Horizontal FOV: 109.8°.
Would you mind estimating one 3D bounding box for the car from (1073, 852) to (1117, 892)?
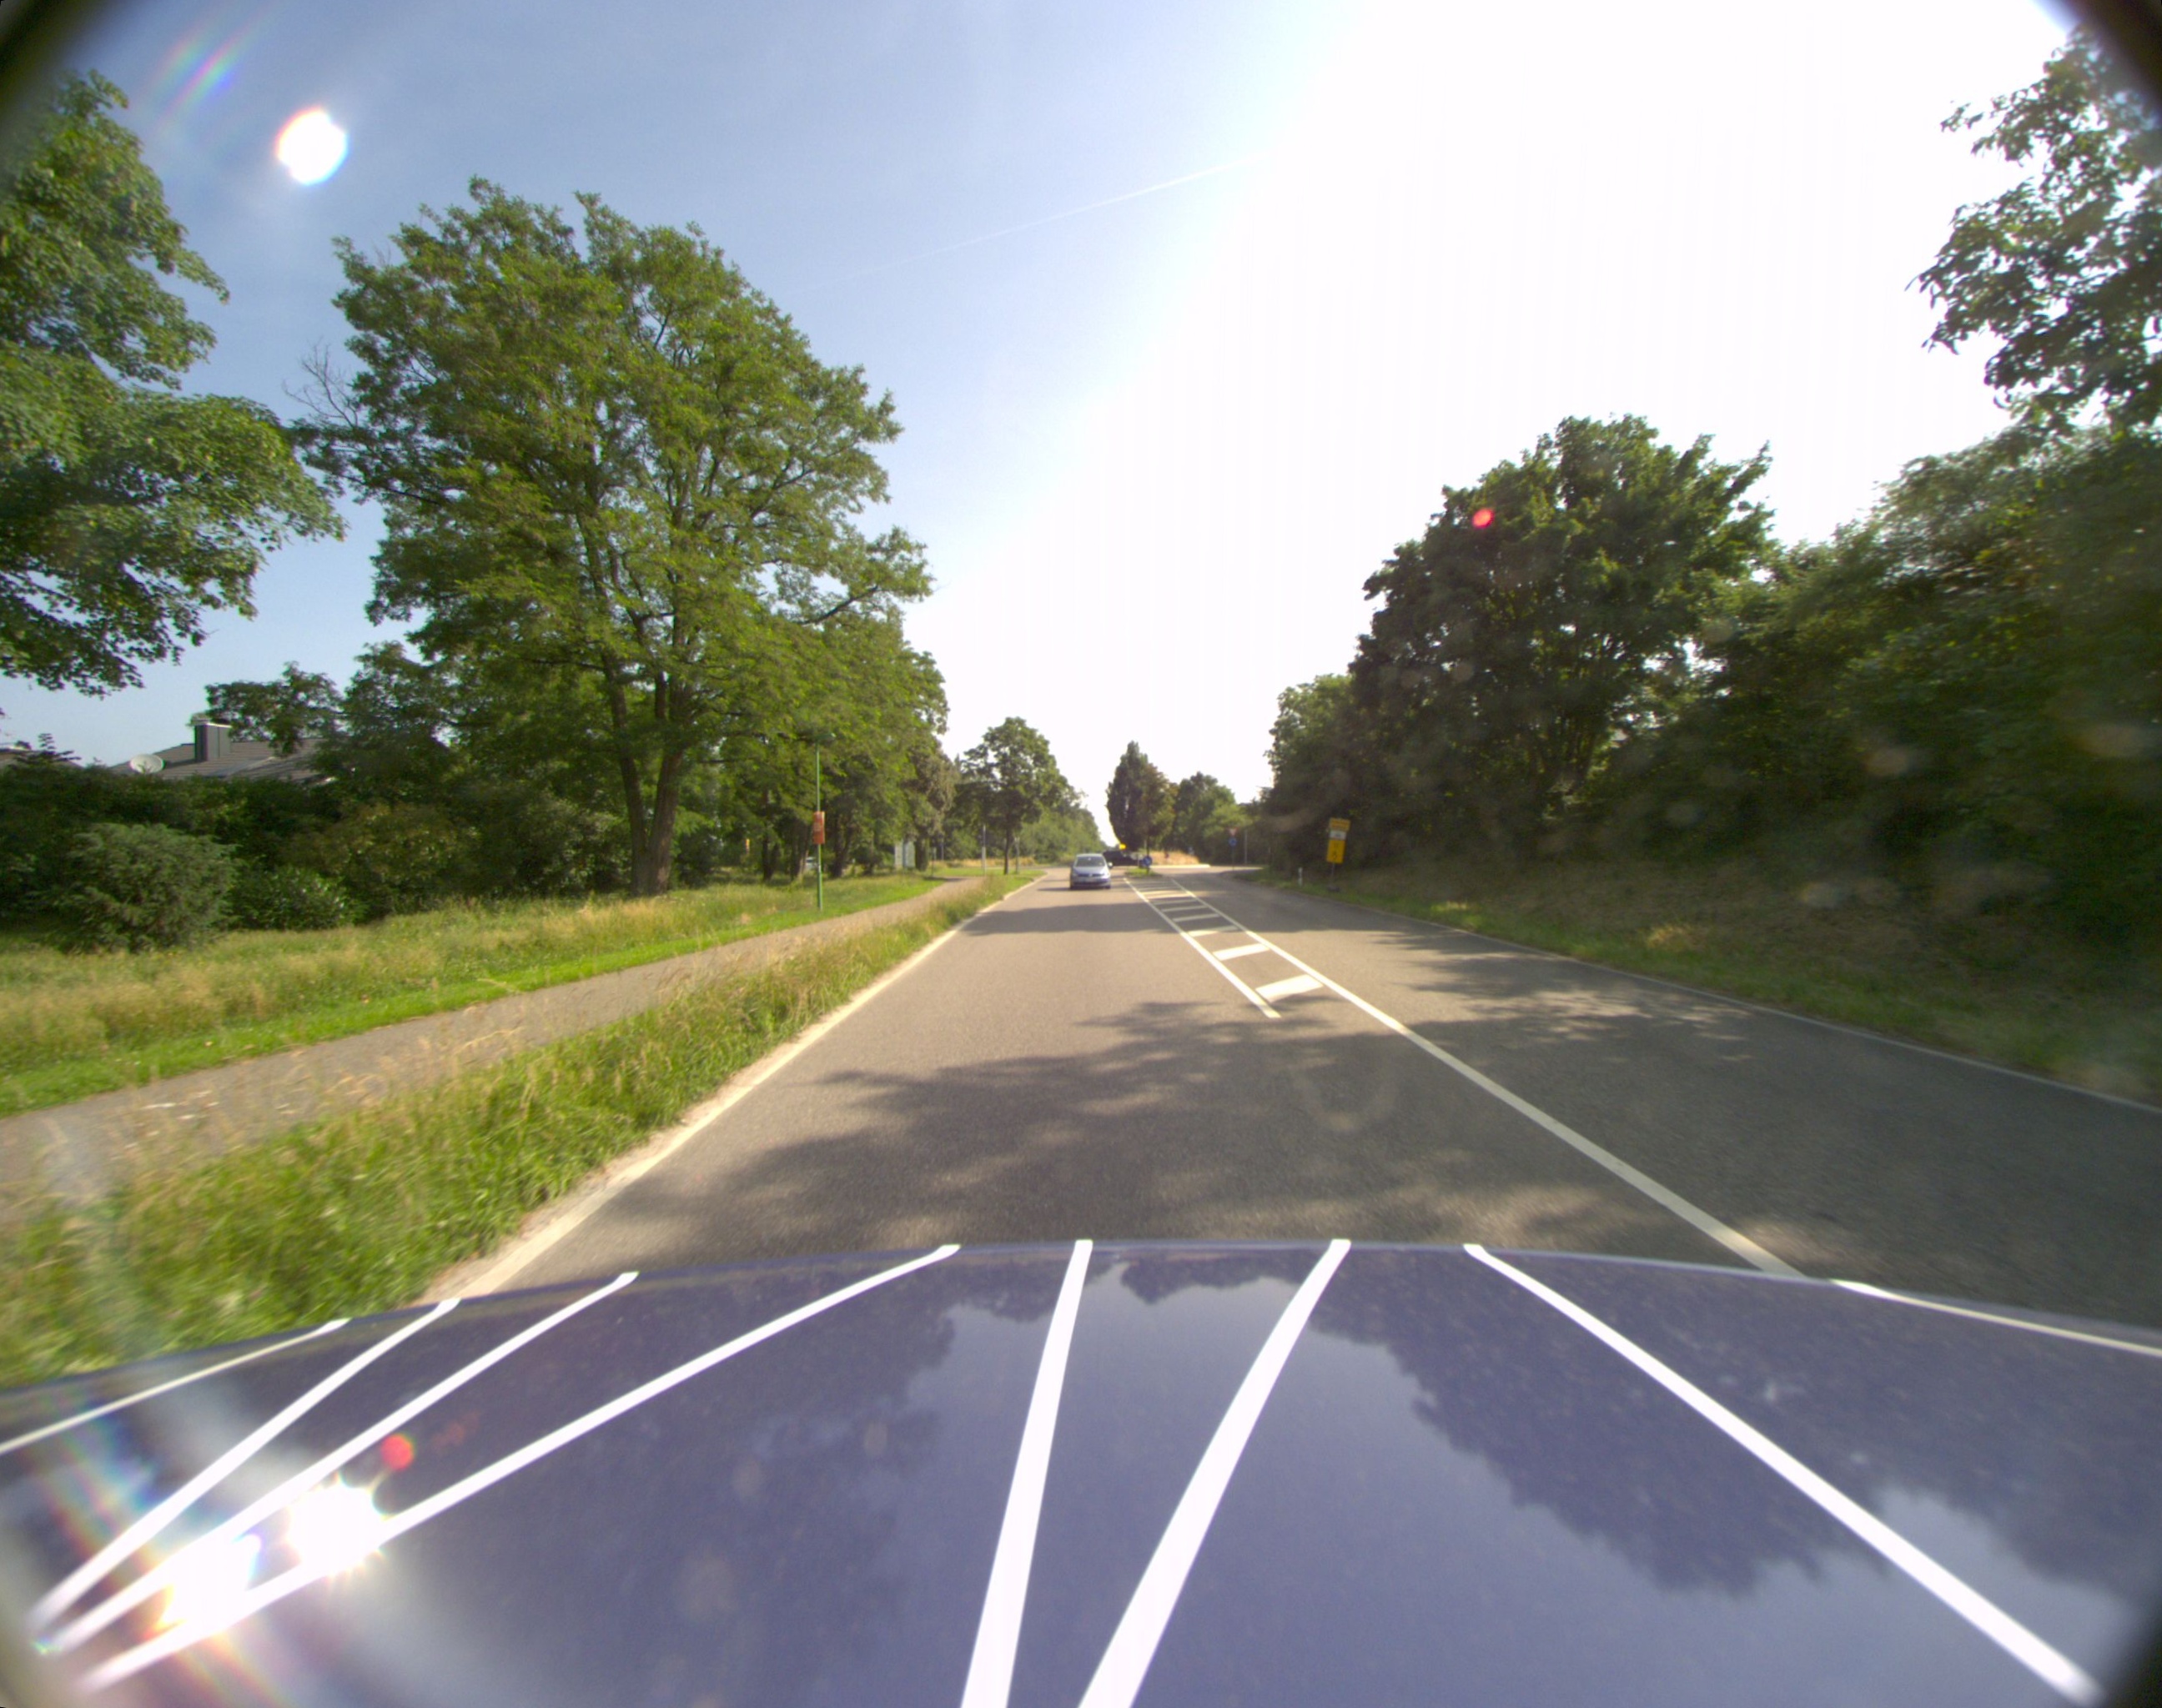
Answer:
[{"bbox_3d":[0.646,0.743,33.013,1.808,1.592,4.269,0,0,2],"label":"car"}]

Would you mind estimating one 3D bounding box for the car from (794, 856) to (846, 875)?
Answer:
[{"bbox_3d":[-23.517,1.010,68.530,4.136,1.540,1.901,-2,1,-10],"label":"car"}]

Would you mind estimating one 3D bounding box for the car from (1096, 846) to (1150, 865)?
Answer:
[{"bbox_3d":[3.626,0.134,66.048,4.617,1.592,1.953,0,1,1],"label":"car"}]
